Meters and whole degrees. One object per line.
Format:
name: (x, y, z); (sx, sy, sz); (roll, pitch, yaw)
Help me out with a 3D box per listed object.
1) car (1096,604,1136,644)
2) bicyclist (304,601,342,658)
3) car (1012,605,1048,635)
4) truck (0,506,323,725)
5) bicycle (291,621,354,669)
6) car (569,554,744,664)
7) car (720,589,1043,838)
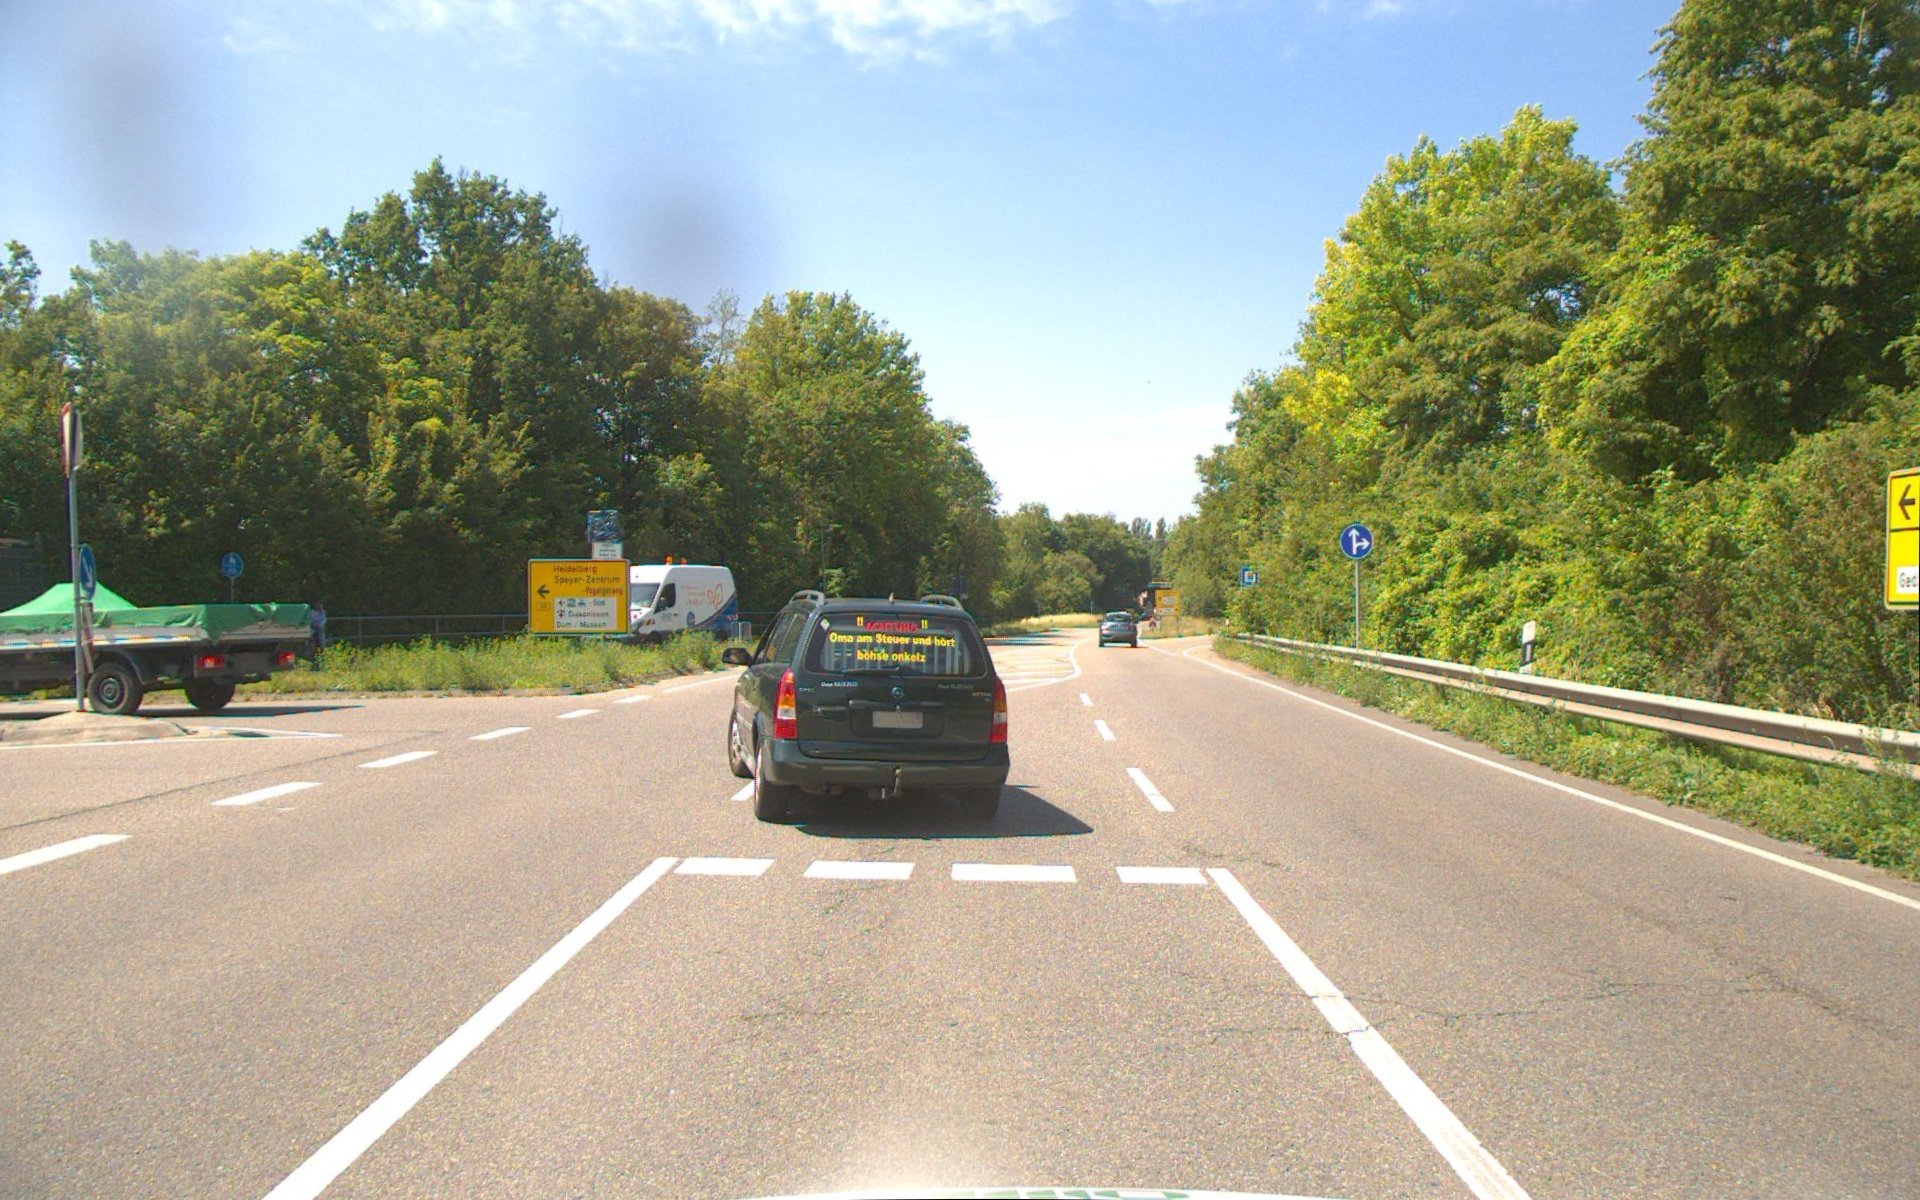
car: (7.188, 1.081, 76.422); (1.804, 1.714, 4.002); (0, 0, 4)
bicyclist: (-15.699, 0.724, 40.782); (0.675, 1.387, 0.607); (0, 0, 34)
car: (7.743, 2.208, 184.118); (1.970, 3.282, 4.766); (0, 0, -27)
truck: (-12.013, 0.283, 21.987); (6.476, 2.610, 2.147); (-2, -1, 13)
bicycle: (-15.708, 1.102, 40.775); (0.427, 1.133, 1.478); (-1, 0, 33)
car: (-8.464, 0.259, 46.814); (2.062, 2.900, 6.013); (0, 0, 20)
car: (-0.729, 0.679, 12.022); (1.691, 1.482, 3.785); (1, 1, -13)
